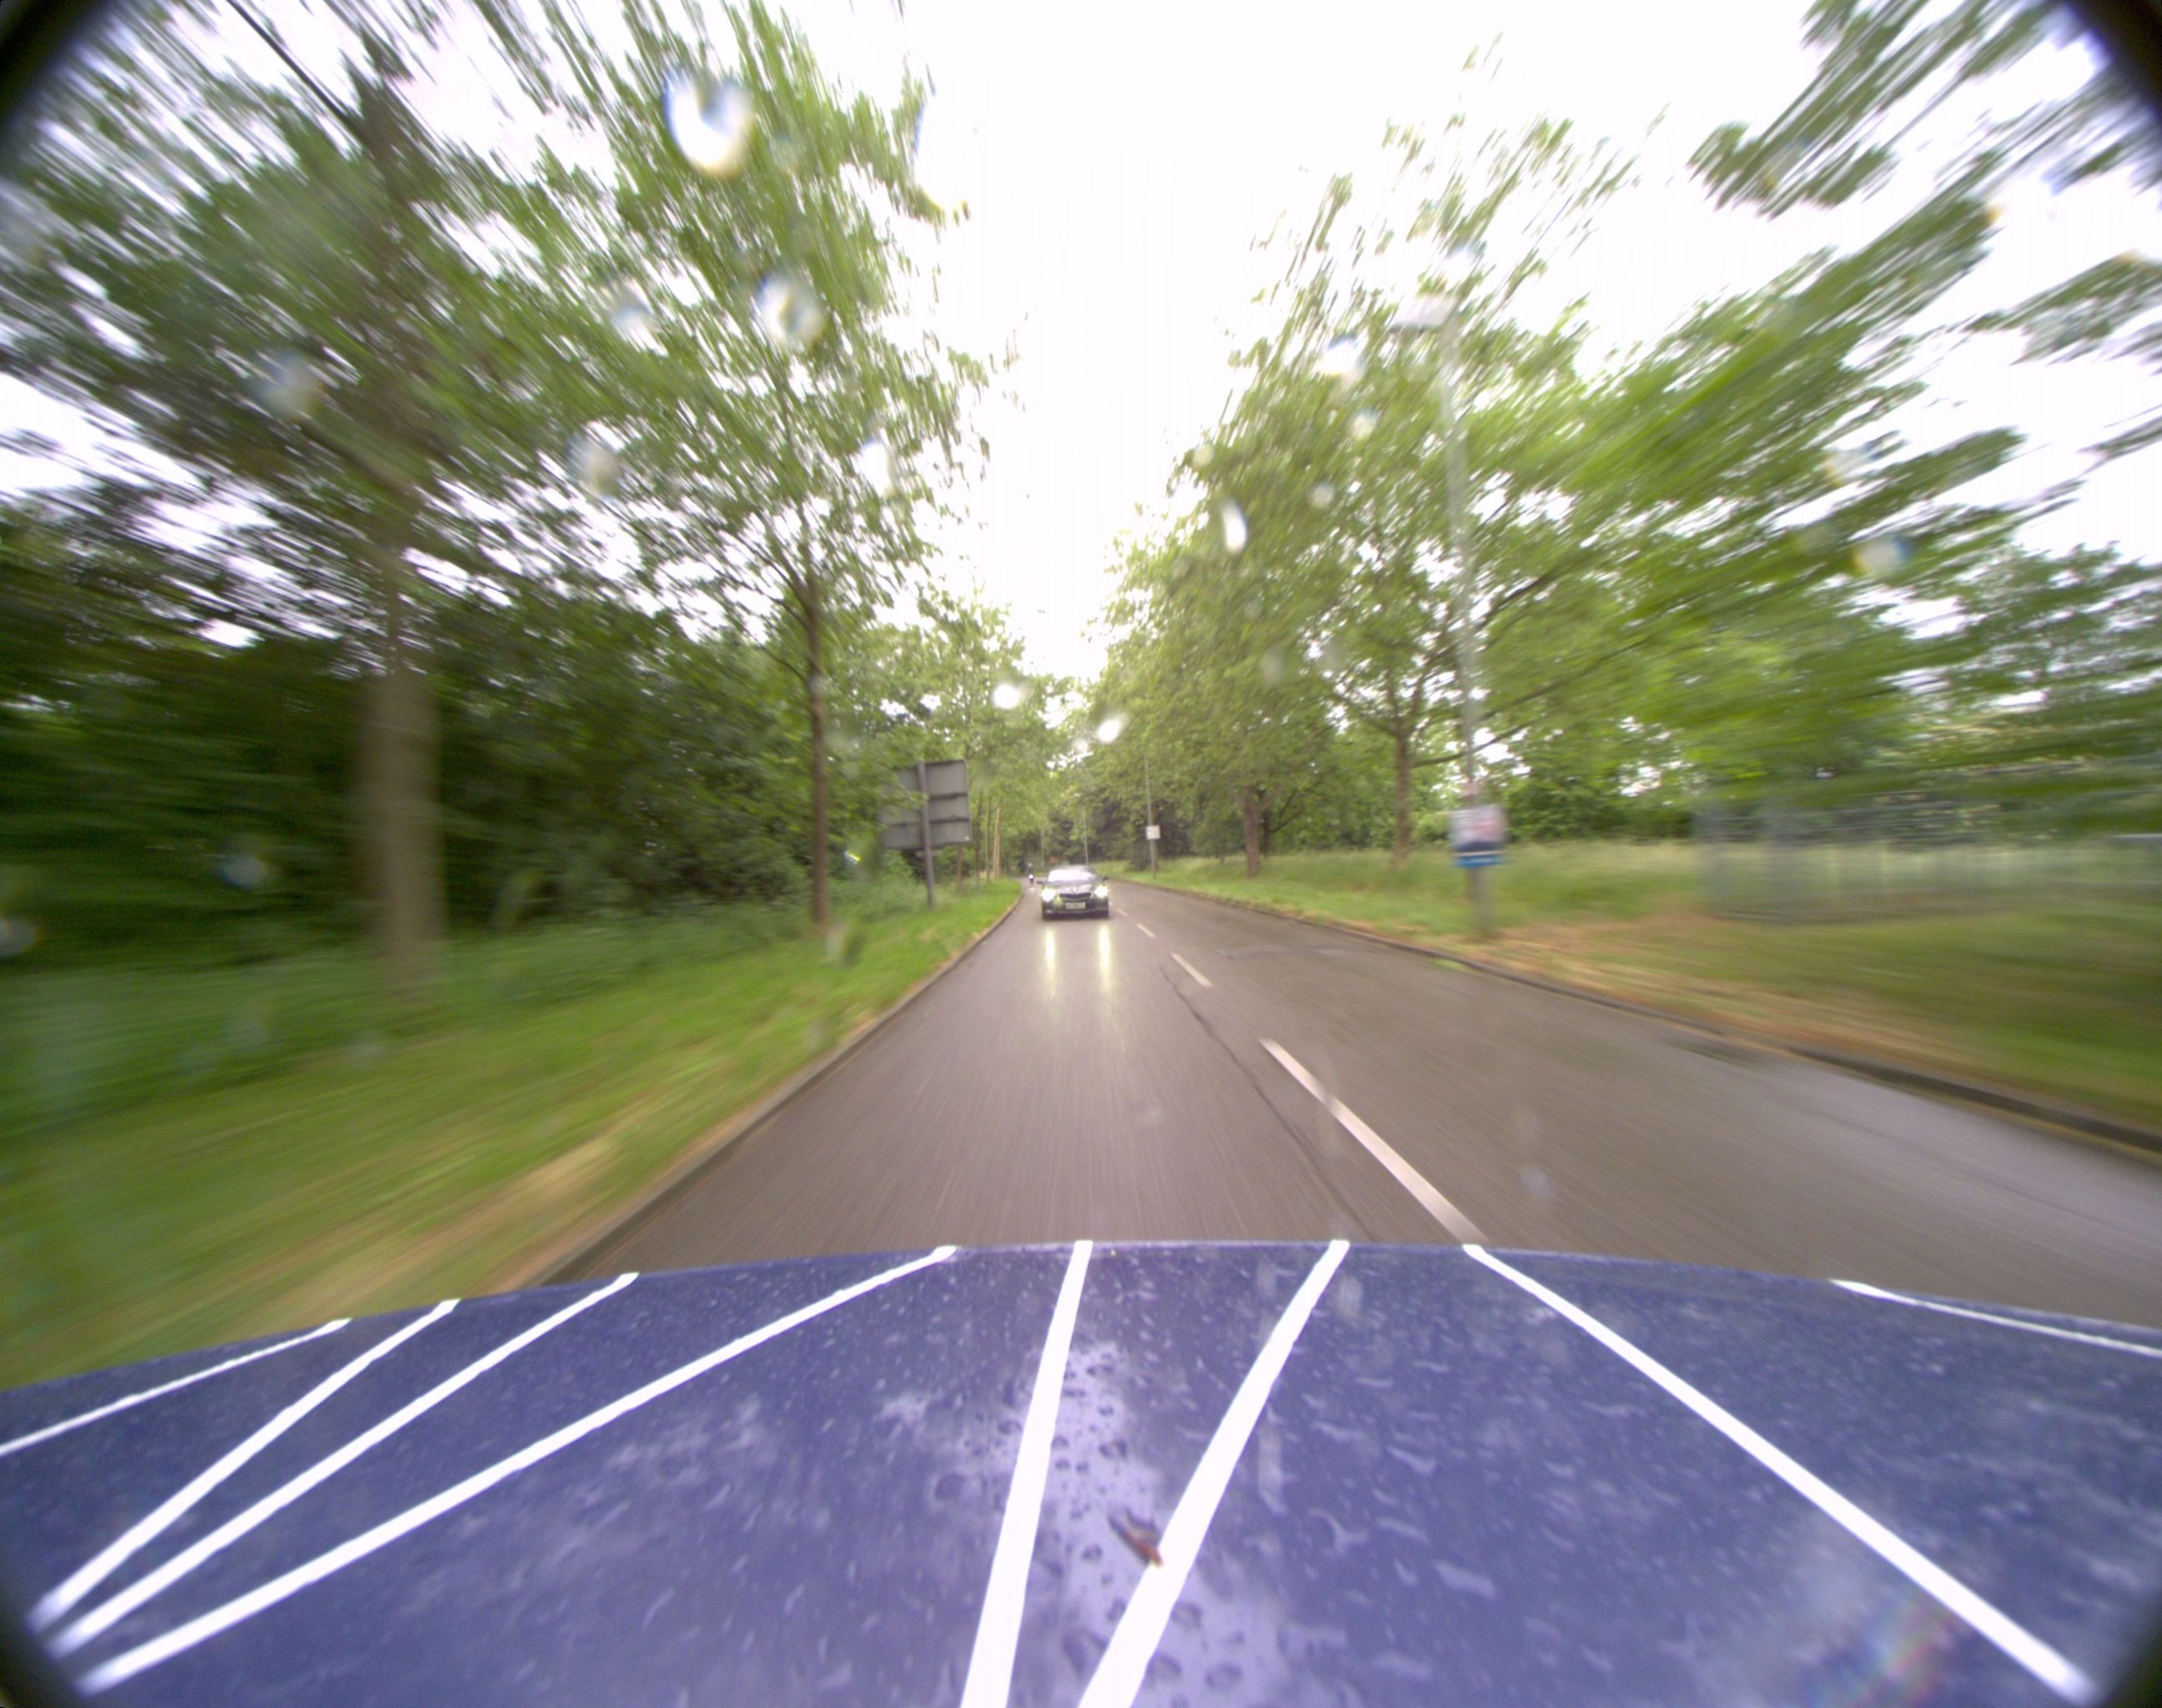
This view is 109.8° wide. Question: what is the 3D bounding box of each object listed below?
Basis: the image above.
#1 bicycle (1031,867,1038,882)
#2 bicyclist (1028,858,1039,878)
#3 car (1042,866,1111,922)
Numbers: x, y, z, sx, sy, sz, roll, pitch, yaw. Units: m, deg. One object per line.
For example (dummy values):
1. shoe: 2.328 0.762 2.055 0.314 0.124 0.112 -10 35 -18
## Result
1. bicycle: -3.675 1.590 59.619 0.453 1.127 1.832 -5 0 -4
2. bicyclist: -3.742 1.085 59.596 0.698 1.488 0.800 -5 1 -4
3. car: -0.111 1.117 22.996 1.843 1.485 4.902 -1 -1 0
